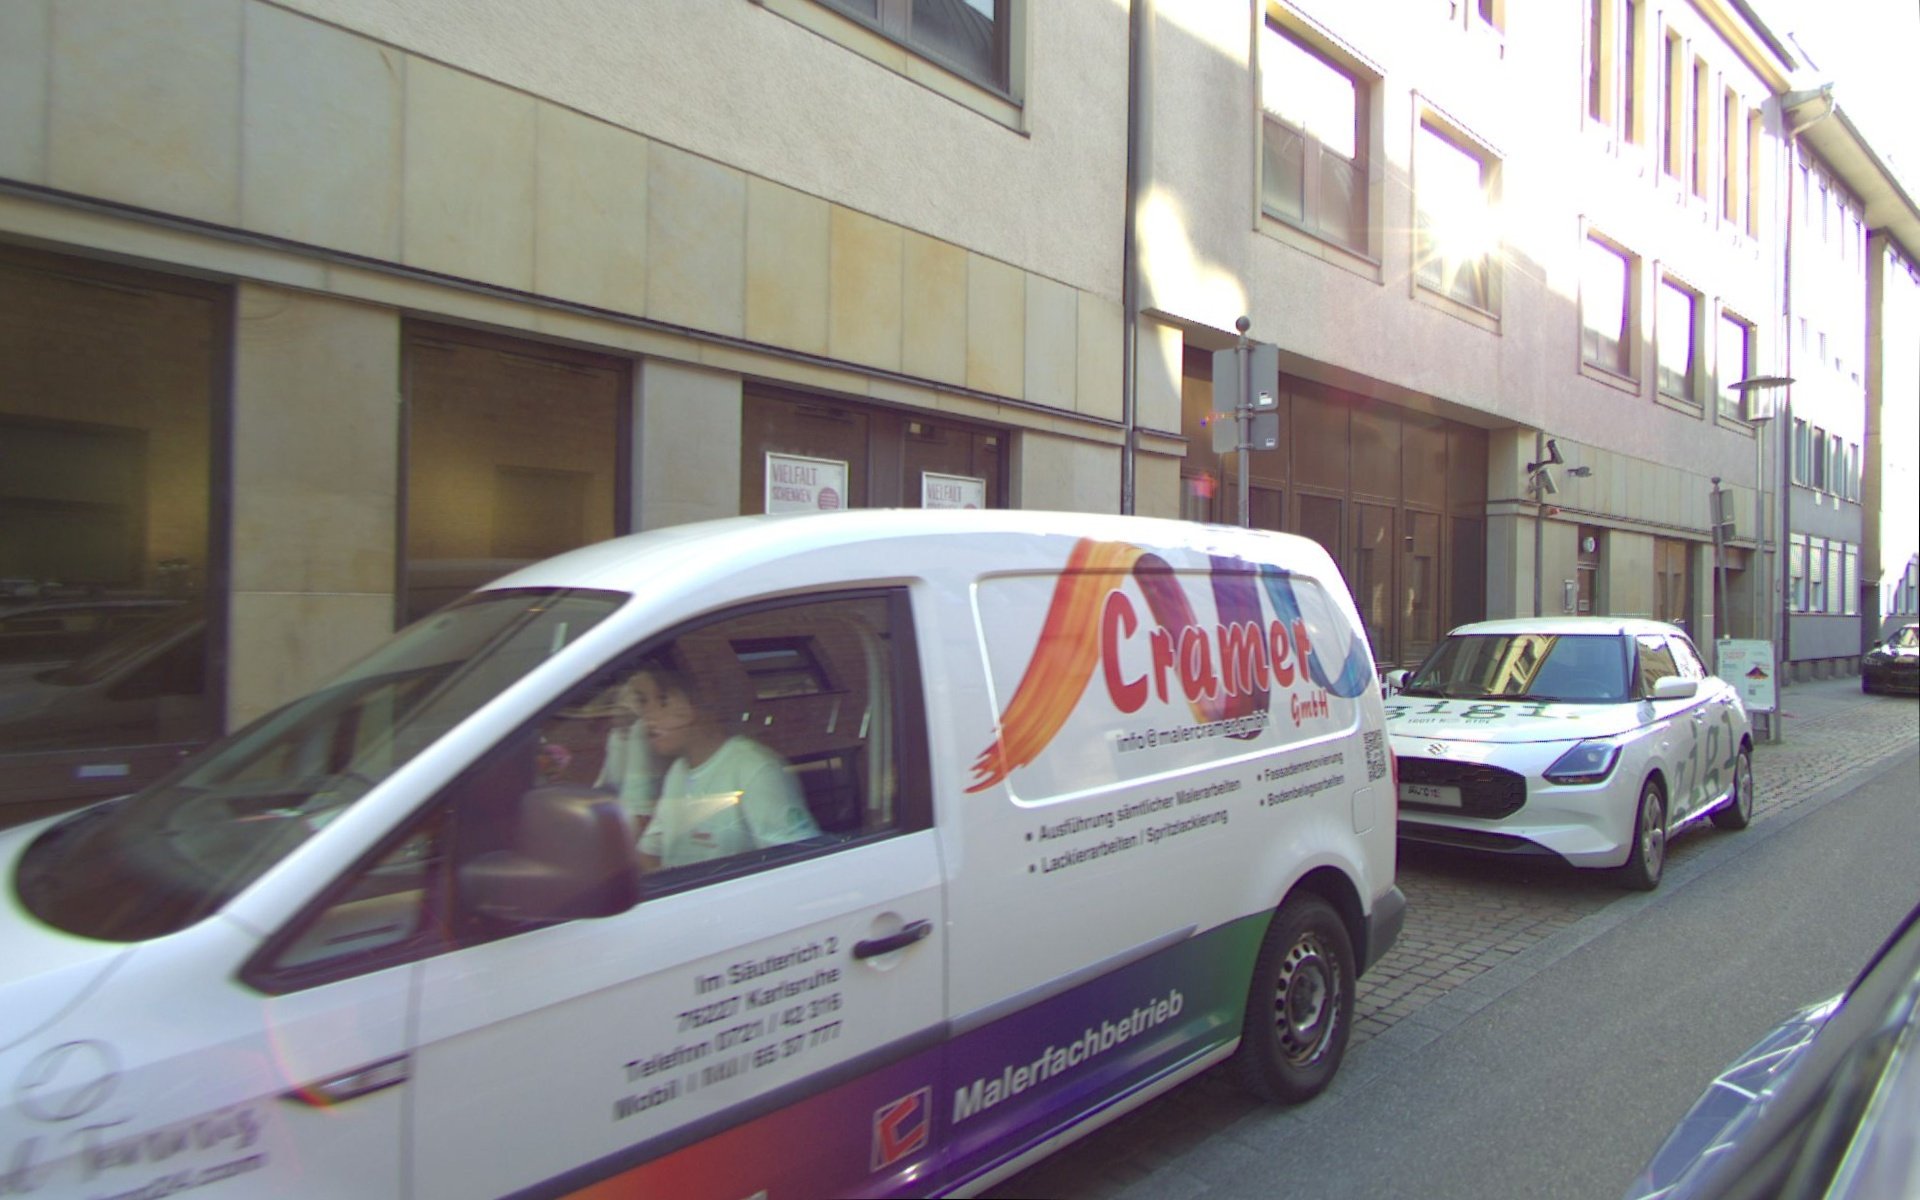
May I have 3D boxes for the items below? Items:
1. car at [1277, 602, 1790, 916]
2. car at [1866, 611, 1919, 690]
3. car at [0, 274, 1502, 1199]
[{"bbox_3d":[4.085,0.805,6.916,4.096,1.497,1.842,1,-2,-42],"label":"car"},{"bbox_3d":[19.994,0.969,20.219,5.129,1.472,1.899,1,-1,-38],"label":"car"},{"bbox_3d":[-0.494,0.579,2.743,5.124,1.814,1.833,1,-1,-42],"label":"car"}]
